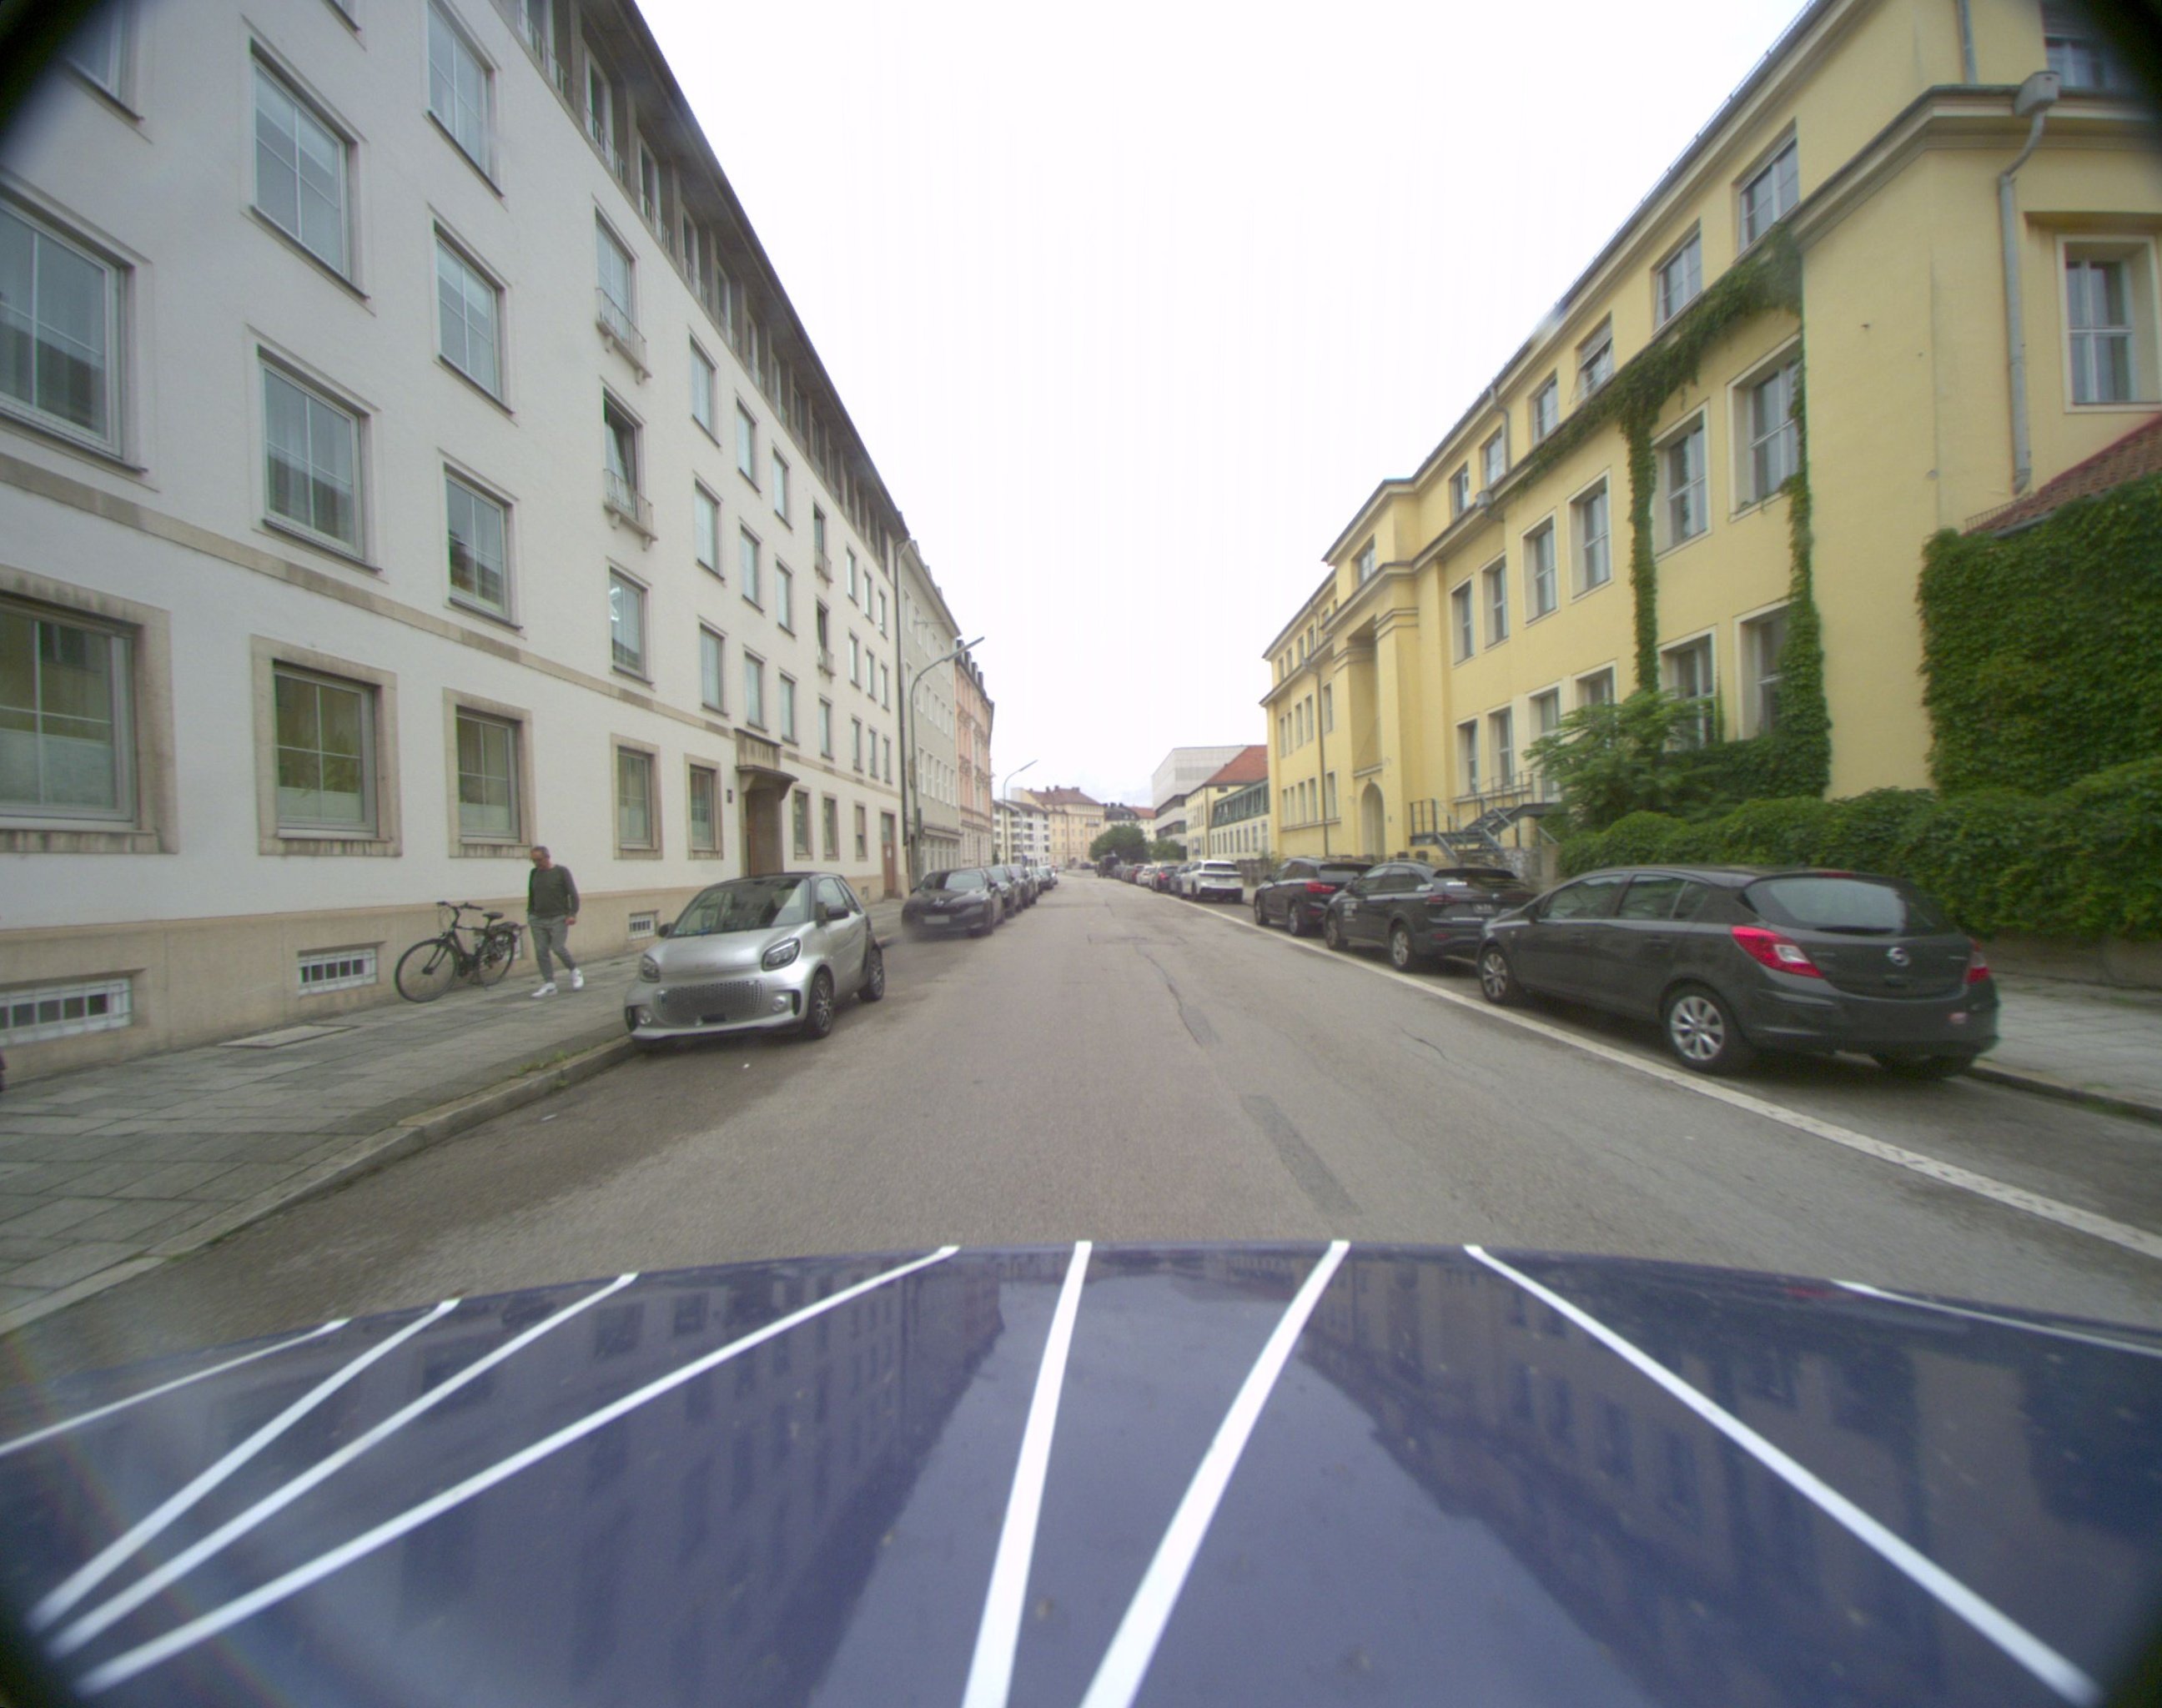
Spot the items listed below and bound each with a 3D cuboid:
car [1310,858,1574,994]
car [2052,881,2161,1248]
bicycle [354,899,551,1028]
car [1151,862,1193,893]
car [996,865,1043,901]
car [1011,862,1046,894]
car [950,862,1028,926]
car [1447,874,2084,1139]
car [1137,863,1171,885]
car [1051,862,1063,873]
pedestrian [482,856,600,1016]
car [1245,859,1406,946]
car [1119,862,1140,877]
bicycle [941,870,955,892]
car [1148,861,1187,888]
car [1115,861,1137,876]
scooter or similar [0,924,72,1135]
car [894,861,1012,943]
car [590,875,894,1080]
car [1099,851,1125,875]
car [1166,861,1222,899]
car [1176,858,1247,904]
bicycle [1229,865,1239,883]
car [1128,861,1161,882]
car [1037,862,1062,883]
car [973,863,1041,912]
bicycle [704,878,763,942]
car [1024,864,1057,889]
[{"bbox_3d":[5.011,0.880,11.360,1.729,1.620,4.465,0,0,-2],"label":"car"},{"bbox_3d":[5.090,0.834,1.323,1.595,1.432,4.018,0,0,-2],"label":"car"},{"bbox_3d":[-7.280,1.206,8.968,0.531,1.210,2.103,1,0,1],"label":"bicycle"},{"bbox_3d":[4.756,1.193,40.211,1.703,1.488,4.149,2,0,0],"label":"car"},{"bbox_3d":[-2.809,1.309,35.442,1.677,1.421,4.530,-4,0,0],"label":"car"},{"bbox_3d":[-2.819,1.269,41.638,1.711,1.583,4.361,-3,-1,-3],"label":"car"},{"bbox_3d":[-2.708,1.135,23.258,1.649,1.580,4.634,-5,0,0],"label":"car"},{"bbox_3d":[5.038,0.954,6.578,1.608,1.422,4.251,1,0,-1],"label":"car"},{"bbox_3d":[5.022,1.350,53.024,1.799,1.421,4.664,1,0,-2],"label":"car"},{"bbox_3d":[-4.746,2.683,149.731,1.921,1.836,5.321,-1,-3,-7],"label":"car"},{"bbox_3d":[-6.285,0.917,8.891,0.724,1.753,0.904,1,1,1],"label":"pedestrian"},{"bbox_3d":[5.067,0.917,16.509,1.794,1.577,4.817,1,0,-2],"label":"car"},{"bbox_3d":[5.061,1.634,79.210,1.918,1.473,4.532,1,-1,1],"label":"car"},{"bbox_3d":[-7.318,1.484,41.840,0.385,1.151,1.950,-2,0,-1],"label":"bicycle"},{"bbox_3d":[5.120,1.196,45.444,1.789,1.423,4.652,-2,0,0],"label":"car"},{"bbox_3d":[4.979,1.638,83.973,1.919,1.577,4.352,1,-1,-3],"label":"car"},{"bbox_3d":[-7.286,1.197,4.570,0.441,1.351,1.588,-3,2,-11],"label":"scooter or similar"},{"bbox_3d":[-2.828,1.004,18.002,1.807,1.475,5.319,-5,0,-1],"label":"car"},{"bbox_3d":[-3.147,1.057,7.698,1.654,1.486,2.881,-5,0,0],"label":"car"},{"bbox_3d":[3.853,1.109,94.941,2.220,2.837,6.193,0,0,-8],"label":"car"},{"bbox_3d":[5.140,1.144,35.102,1.708,1.493,4.494,3,0,-1],"label":"car"},{"bbox_3d":[5.071,0.997,30.135,1.750,1.624,4.855,-1,0,-3],"label":"car"},{"bbox_3d":[9.580,1.226,47.558,0.538,1.056,1.641,-2,0,10],"label":"bicycle"},{"bbox_3d":[4.875,1.323,58.714,1.963,1.473,4.528,1,0,-2],"label":"car"},{"bbox_3d":[-2.714,1.530,64.105,1.686,1.663,3.802,-4,0,-8],"label":"car"},{"bbox_3d":[-2.643,1.166,28.126,1.844,1.513,4.709,-3,0,1],"label":"car"},{"bbox_3d":[-7.348,1.148,16.134,0.514,1.215,1.987,-2,0,-7],"label":"bicycle"},{"bbox_3d":[-2.516,1.378,48.303,1.692,1.393,4.364,-3,0,1],"label":"car"}]
